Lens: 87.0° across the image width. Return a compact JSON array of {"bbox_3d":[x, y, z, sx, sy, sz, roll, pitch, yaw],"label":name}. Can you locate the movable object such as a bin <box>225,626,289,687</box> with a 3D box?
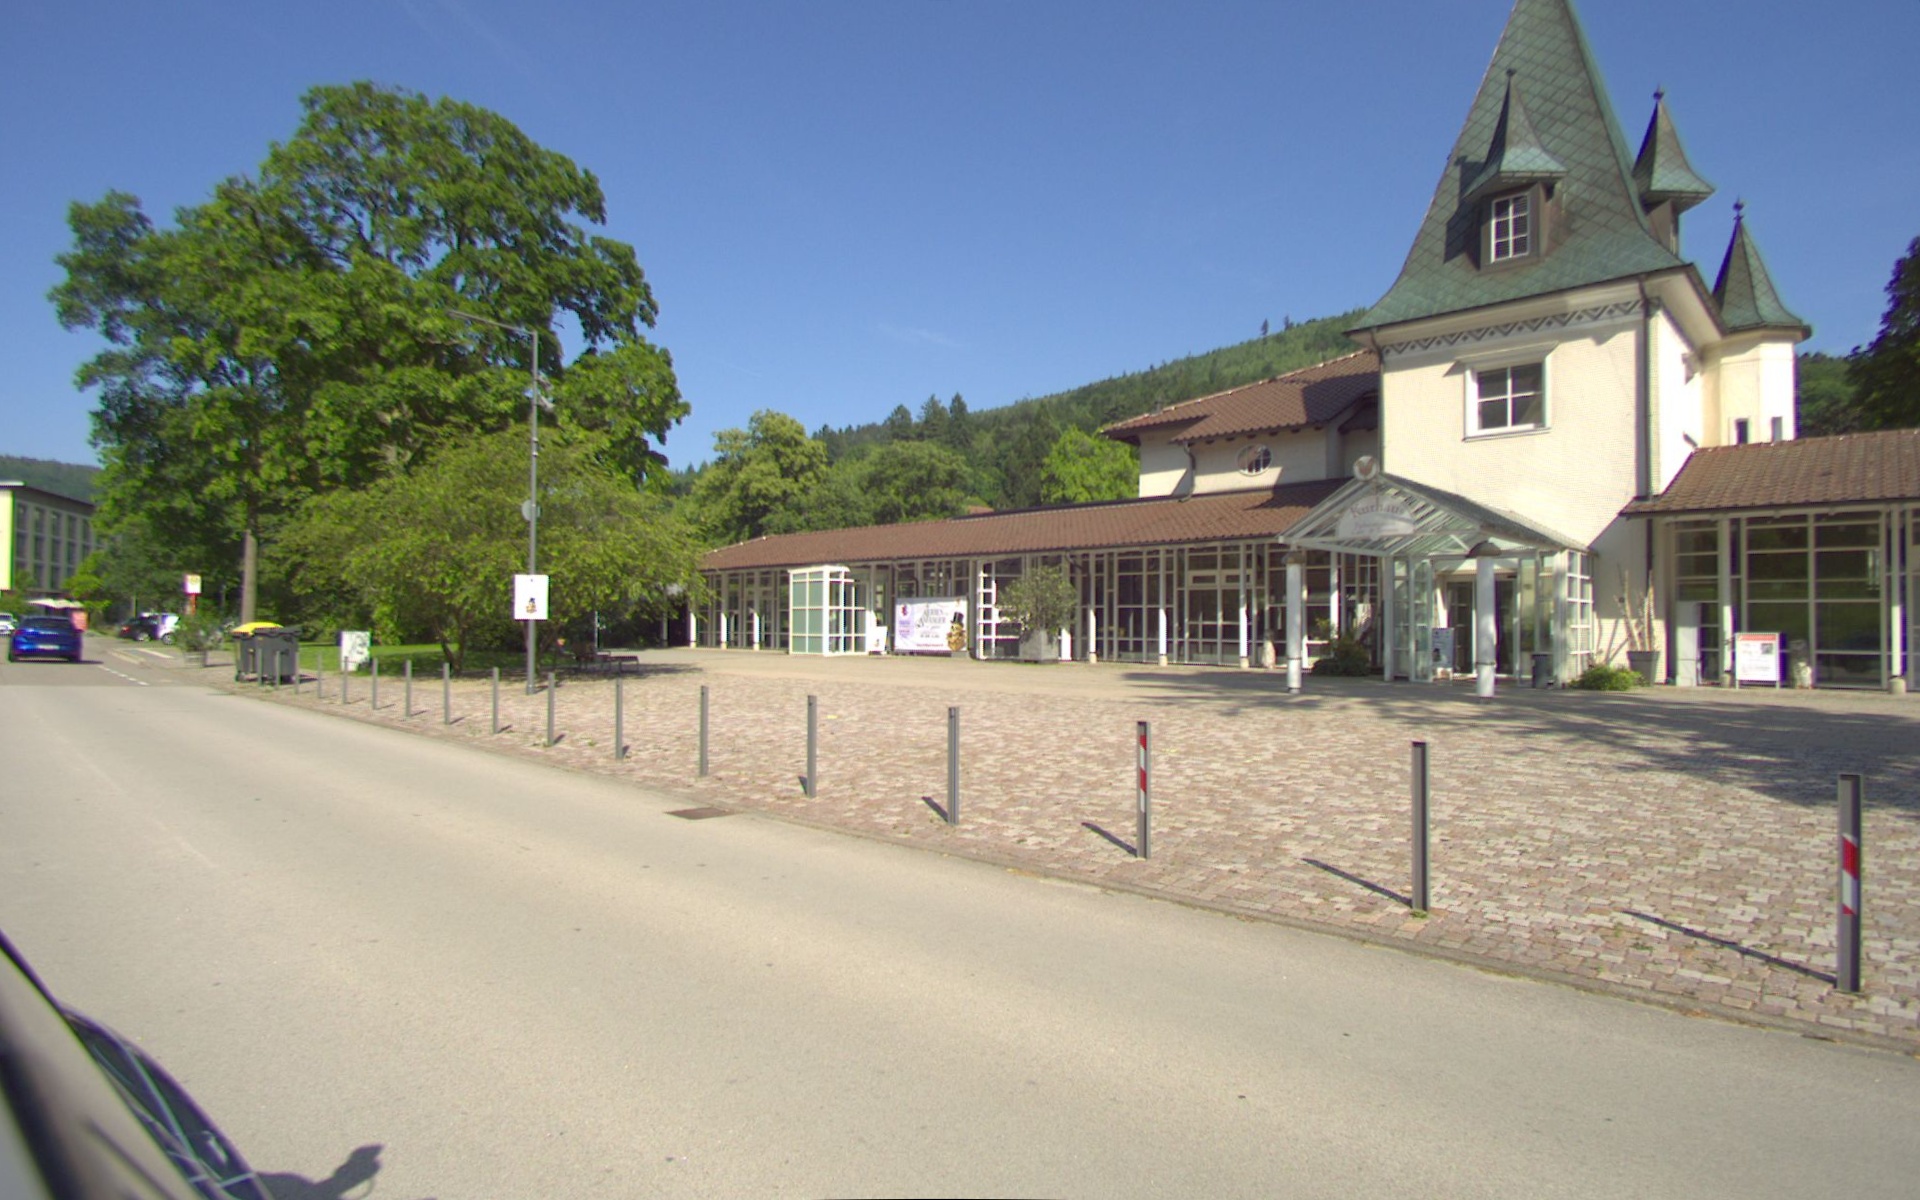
[{"bbox_3d":[-17.588,1.379,25.316,1.377,1.438,1.066,-1,-1,44],"label":"movable object such as a bin"}]

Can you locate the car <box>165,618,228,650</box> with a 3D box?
[{"bbox_3d":[-40.154,1.776,53.254,2.616,1.558,1.686,0,0,-37],"label":"car"}]

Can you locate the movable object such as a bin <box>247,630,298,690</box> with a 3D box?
[{"bbox_3d":[-16.232,1.392,23.888,1.295,1.352,0.746,-1,-1,45],"label":"movable object such as a bin"}]

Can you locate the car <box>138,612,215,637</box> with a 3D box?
[{"bbox_3d":[-57.322,1.769,74.088,4.426,1.676,1.813,-1,0,-40],"label":"car"}]

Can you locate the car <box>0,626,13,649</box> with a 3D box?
[{"bbox_3d":[-63.735,2.459,66.790,1.630,1.482,4.005,0,-1,-41],"label":"car"}]

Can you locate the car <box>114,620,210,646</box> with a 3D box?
[{"bbox_3d":[-47.216,1.923,59.918,1.712,1.442,4.231,-1,0,41],"label":"car"}]

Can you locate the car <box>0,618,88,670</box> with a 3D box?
[{"bbox_3d":[-29.570,1.390,32.593,4.187,1.474,1.722,0,-4,43],"label":"car"}]
